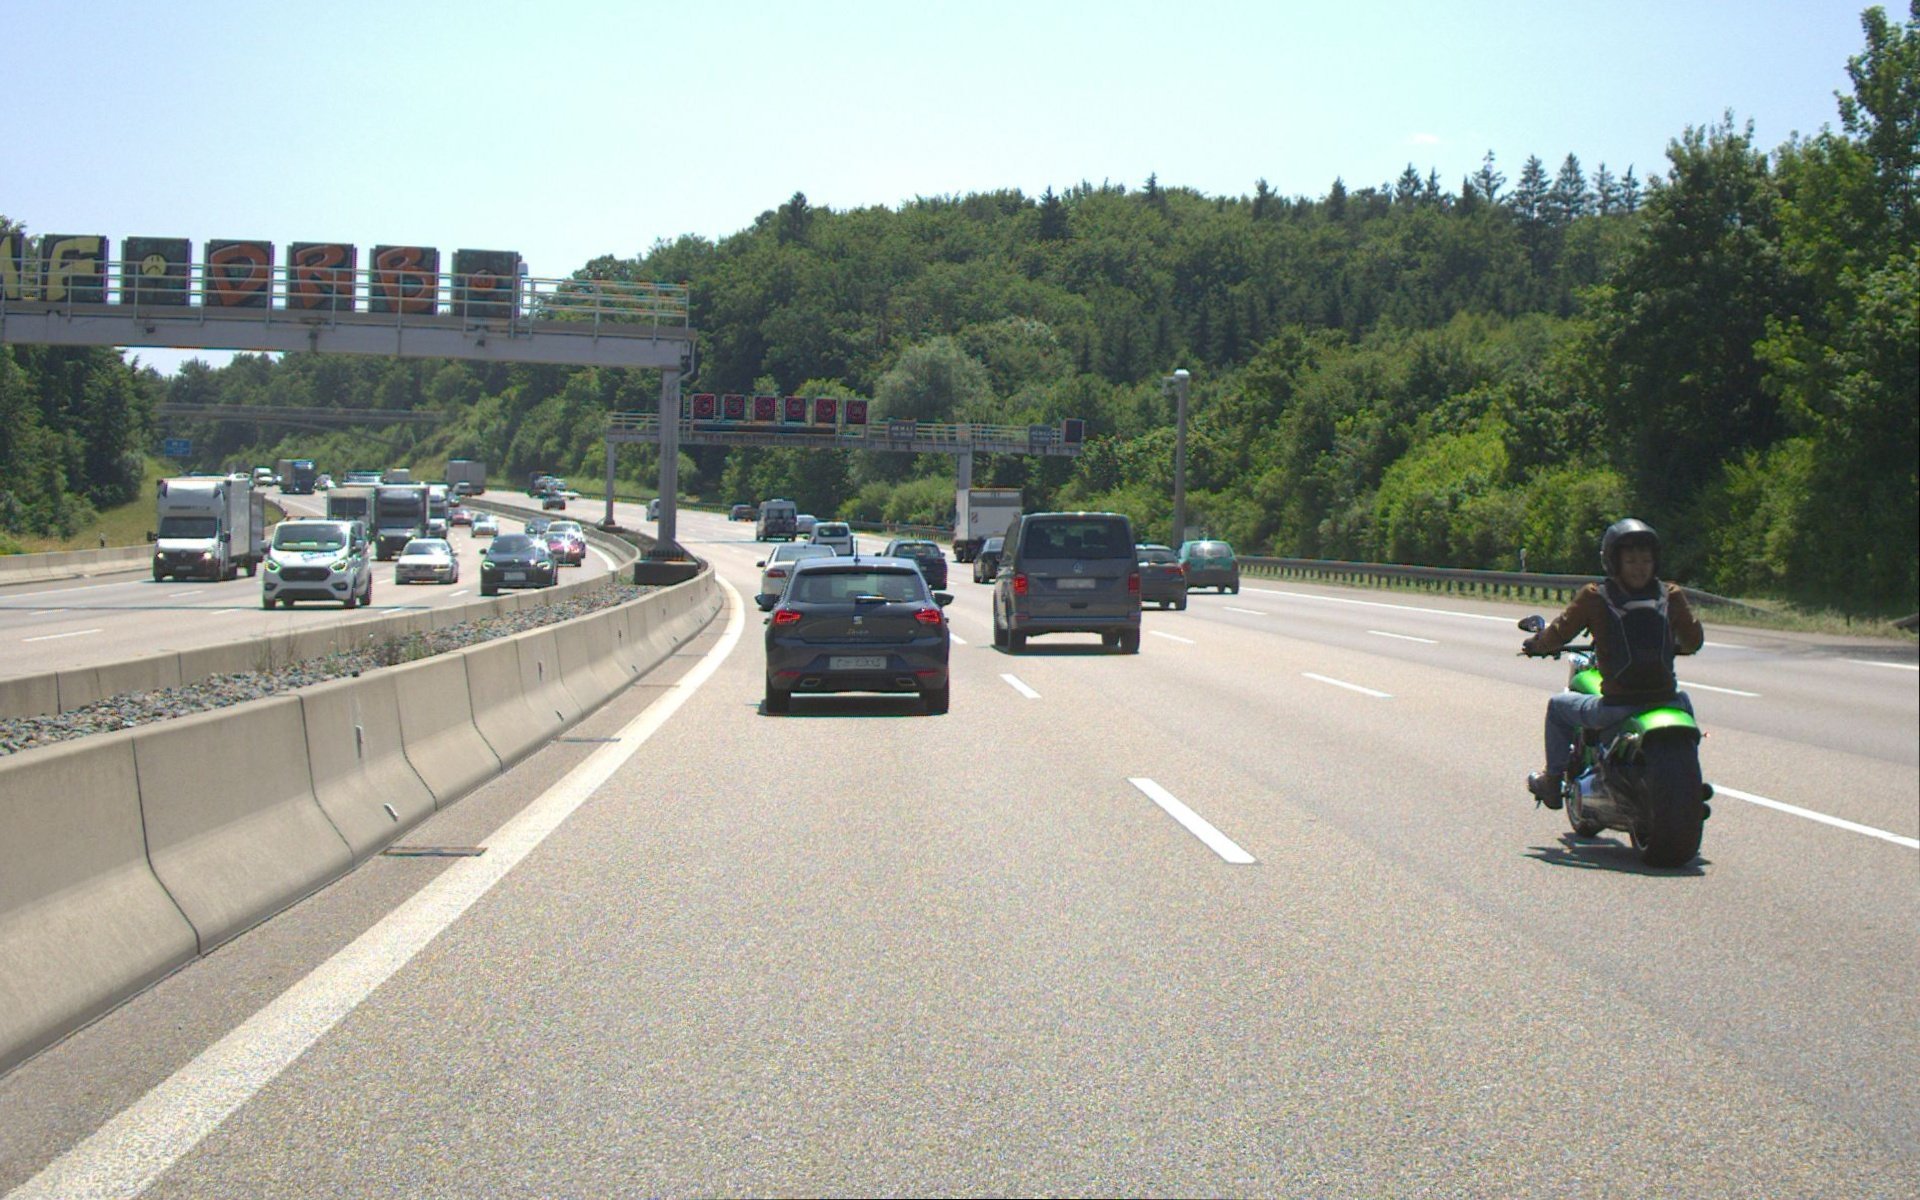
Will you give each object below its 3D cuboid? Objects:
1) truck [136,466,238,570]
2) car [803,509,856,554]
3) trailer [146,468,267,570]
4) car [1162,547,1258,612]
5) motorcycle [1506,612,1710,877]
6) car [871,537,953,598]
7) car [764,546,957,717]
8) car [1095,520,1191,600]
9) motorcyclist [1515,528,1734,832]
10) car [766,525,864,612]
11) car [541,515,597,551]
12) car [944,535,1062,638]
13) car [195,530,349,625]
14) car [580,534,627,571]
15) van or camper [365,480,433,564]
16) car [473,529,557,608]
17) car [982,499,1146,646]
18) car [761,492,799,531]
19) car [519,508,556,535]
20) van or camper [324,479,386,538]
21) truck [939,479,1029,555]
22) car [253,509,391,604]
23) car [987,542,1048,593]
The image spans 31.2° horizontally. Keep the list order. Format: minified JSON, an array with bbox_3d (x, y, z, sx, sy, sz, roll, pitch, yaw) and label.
[{"bbox_3d":[-24.445,-2.578,108.837,2.487,3.156,4.403,1,1,-4],"label":"truck"},{"bbox_3d":[-5.529,-2.910,145.271,2.103,1.738,4.689,0,2,-4],"label":"car"},{"bbox_3d":[-24.876,-2.605,113.932,2.474,3.143,10.481,1,0,-4],"label":"trailer"},{"bbox_3d":[6.752,-0.571,93.289,1.993,1.722,4.001,0,1,-5],"label":"car"},{"bbox_3d":[3.170,0.670,17.016,0.535,1.131,2.437,0,2,0],"label":"motorcycle"},{"bbox_3d":[-1.416,-0.939,98.946,1.993,1.722,4.150,0,1,-6],"label":"car"},{"bbox_3d":[-0.954,0.252,32.817,1.708,1.428,4.001,1,2,-2],"label":"car"},{"bbox_3d":[4.000,-0.886,75.589,1.849,1.722,4.000,0,1,0],"label":"car"},{"bbox_3d":[3.215,0.366,16.730,0.852,1.422,1.023,0,2,-1],"label":"motorcyclist"},{"bbox_3d":[-3.176,-0.669,76.019,2.012,1.839,4.000,0,-1,0],"label":"car"},{"bbox_3d":[-16.055,-2.767,141.331,2.047,1.437,5.222,0,1,-4],"label":"car"},{"bbox_3d":[0.739,-0.232,59.871,1.945,1.706,4.000,1,0,0],"label":"car"},{"bbox_3d":[-13.034,-0.456,65.427,2.287,1.722,5.032,0,1,-5],"label":"car"},{"bbox_3d":[-16.751,-2.249,161.504,1.993,1.722,4.001,0,1,-3],"label":"car"},{"bbox_3d":[-25.279,-3.506,155.150,2.430,3.665,7.760,0,1,-5],"label":"van or camper"},{"bbox_3d":[-11.710,-0.828,90.752,1.993,2.007,4.001,1,0,-5],"label":"car"},{"bbox_3d":[1.452,-0.422,49.905,1.962,2.026,5.084,0,1,-3],"label":"car"},{"bbox_3d":[-11.181,-5.499,213.901,2.265,2.363,4.703,0,2,-2],"label":"car"},{"bbox_3d":[-25.932,-4.826,211.216,1.993,1.584,4.845,0,1,-4],"label":"car"},{"bbox_3d":[-34.917,-5.249,198.593,2.764,3.114,8.096,1,0,-5],"label":"van or camper"},{"bbox_3d":[1.002,-3.720,152.404,2.985,3.155,7.577,0,3,-7],"label":"truck"},{"bbox_3d":[-14.334,-0.989,77.647,2.195,2.048,7.142,0,1,-3],"label":"car"},{"bbox_3d":[1.795,-1.044,108.668,1.665,1.403,4.904,1,3,-2],"label":"car"}]
